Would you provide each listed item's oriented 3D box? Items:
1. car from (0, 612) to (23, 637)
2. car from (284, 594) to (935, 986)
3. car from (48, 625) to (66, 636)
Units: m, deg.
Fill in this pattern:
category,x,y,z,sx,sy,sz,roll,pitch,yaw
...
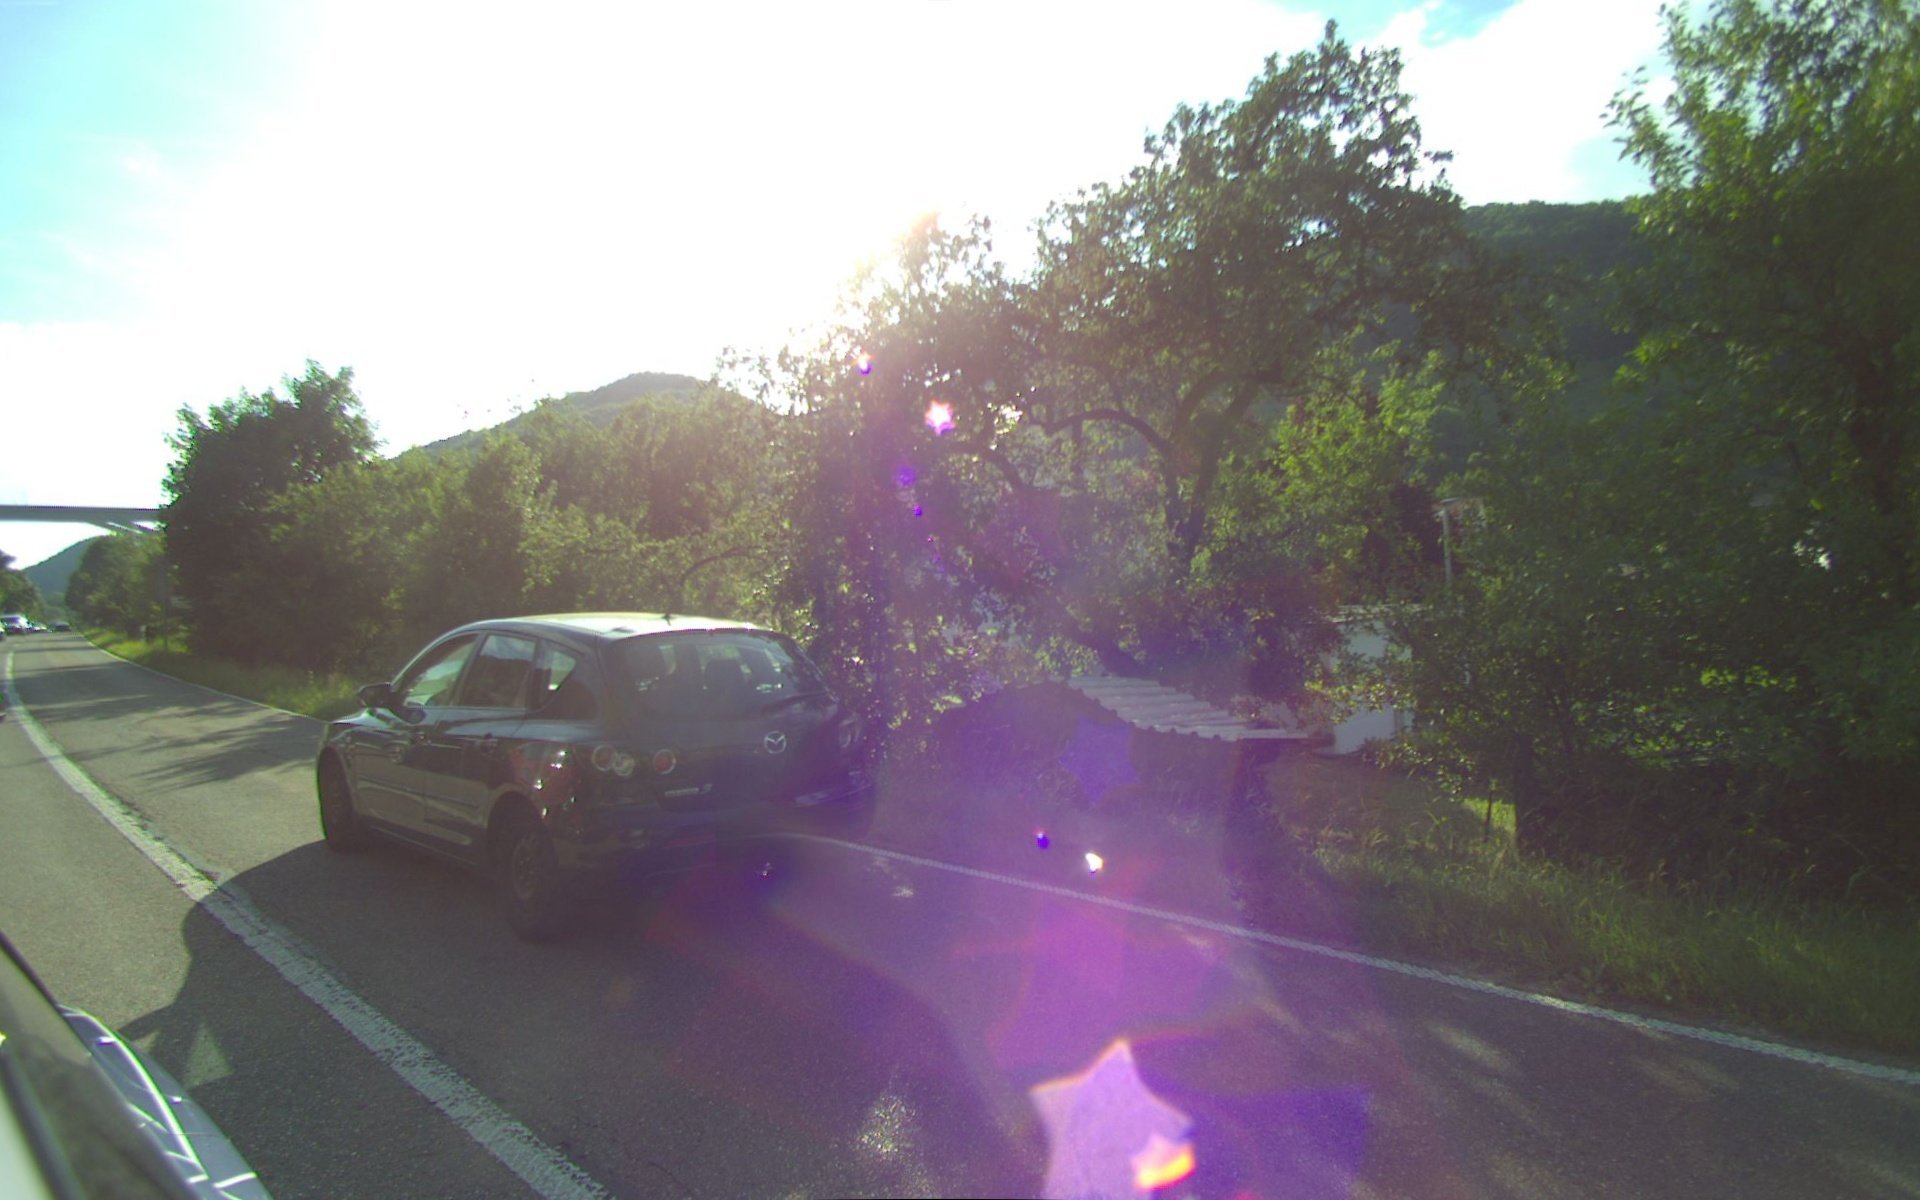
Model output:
category,x,y,z,sx,sy,sz,roll,pitch,yaw
car,-78.365,1.996,83.104,1.970,2.029,4.003,-1,0,-44
car,-2.201,0.714,5.710,4.048,1.441,1.686,-1,0,41
car,-122.994,4.127,137.842,1.576,1.364,4.205,-1,0,-45
